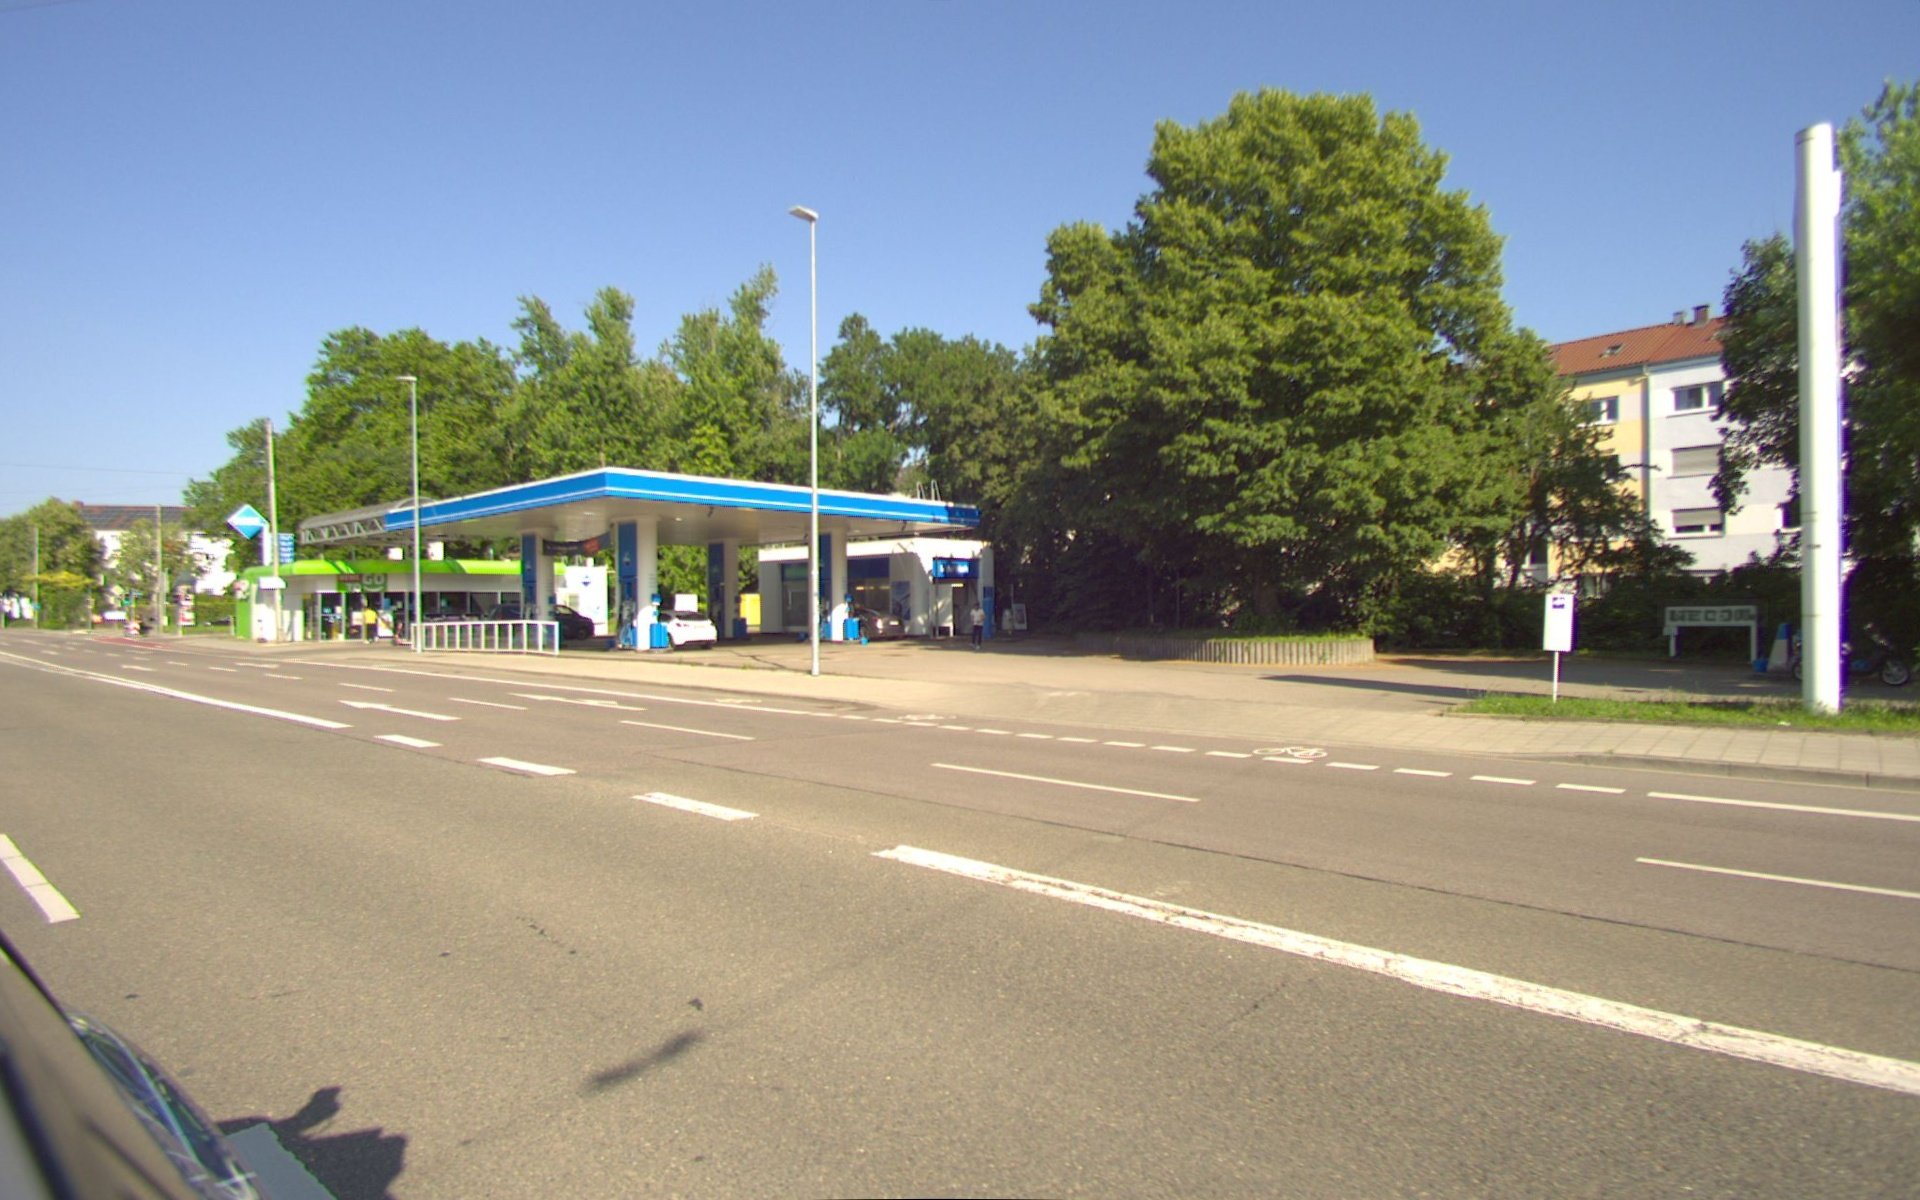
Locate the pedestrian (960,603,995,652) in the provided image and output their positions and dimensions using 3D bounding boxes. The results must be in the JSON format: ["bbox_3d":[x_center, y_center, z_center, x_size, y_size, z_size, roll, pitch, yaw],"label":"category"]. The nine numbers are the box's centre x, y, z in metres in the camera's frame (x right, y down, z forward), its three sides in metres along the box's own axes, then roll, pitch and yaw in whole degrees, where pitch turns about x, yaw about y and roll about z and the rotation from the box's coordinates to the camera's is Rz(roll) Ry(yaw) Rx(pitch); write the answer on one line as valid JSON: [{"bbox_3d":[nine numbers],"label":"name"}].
[{"bbox_3d":[0.648,0.986,36.673,0.822,1.726,1.055,-1,-1,32],"label":"pedestrian"}]

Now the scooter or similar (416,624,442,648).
[{"bbox_3d":[-25.288,1.686,48.197,1.016,1.118,0.351,0,-1,-42],"label":"scooter or similar"}]

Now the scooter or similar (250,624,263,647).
[{"bbox_3d":[-36.611,1.831,52.667,1.144,1.169,0.345,-1,-1,43],"label":"scooter or similar"}]

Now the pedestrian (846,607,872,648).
[{"bbox_3d":[-4.276,1.152,42.854,0.795,1.703,0.807,-1,-1,41],"label":"pedestrian"}]

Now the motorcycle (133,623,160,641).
[{"bbox_3d":[-59.157,2.322,73.619,0.722,1.237,2.270,0,-1,-16],"label":"motorcycle"}]

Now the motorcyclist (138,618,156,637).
[{"bbox_3d":[-59.160,1.989,73.618,0.722,1.399,0.867,0,-1,-15],"label":"motorcyclist"}]

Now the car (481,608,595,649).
[{"bbox_3d":[-21.377,1.398,51.428,5.012,1.955,1.858,0,-1,-45],"label":"car"}]

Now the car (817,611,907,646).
[{"bbox_3d":[-4.274,1.214,43.954,4.001,1.457,1.717,-1,-1,44],"label":"car"}]

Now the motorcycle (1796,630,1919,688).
[{"bbox_3d":[16.293,1.045,18.207,1.904,0.989,0.512,-1,-1,41],"label":"motorcycle"}]

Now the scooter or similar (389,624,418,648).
[{"bbox_3d":[-26.080,1.684,47.423,1.127,1.125,0.351,0,-1,-40],"label":"scooter or similar"}]

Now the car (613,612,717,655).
[{"bbox_3d":[-11.005,1.215,37.599,4.273,1.502,1.718,-1,-1,42],"label":"car"}]

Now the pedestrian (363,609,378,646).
[{"bbox_3d":[-28.221,1.302,48.452,0.594,1.744,0.664,0,-1,-33],"label":"pedestrian"}]
